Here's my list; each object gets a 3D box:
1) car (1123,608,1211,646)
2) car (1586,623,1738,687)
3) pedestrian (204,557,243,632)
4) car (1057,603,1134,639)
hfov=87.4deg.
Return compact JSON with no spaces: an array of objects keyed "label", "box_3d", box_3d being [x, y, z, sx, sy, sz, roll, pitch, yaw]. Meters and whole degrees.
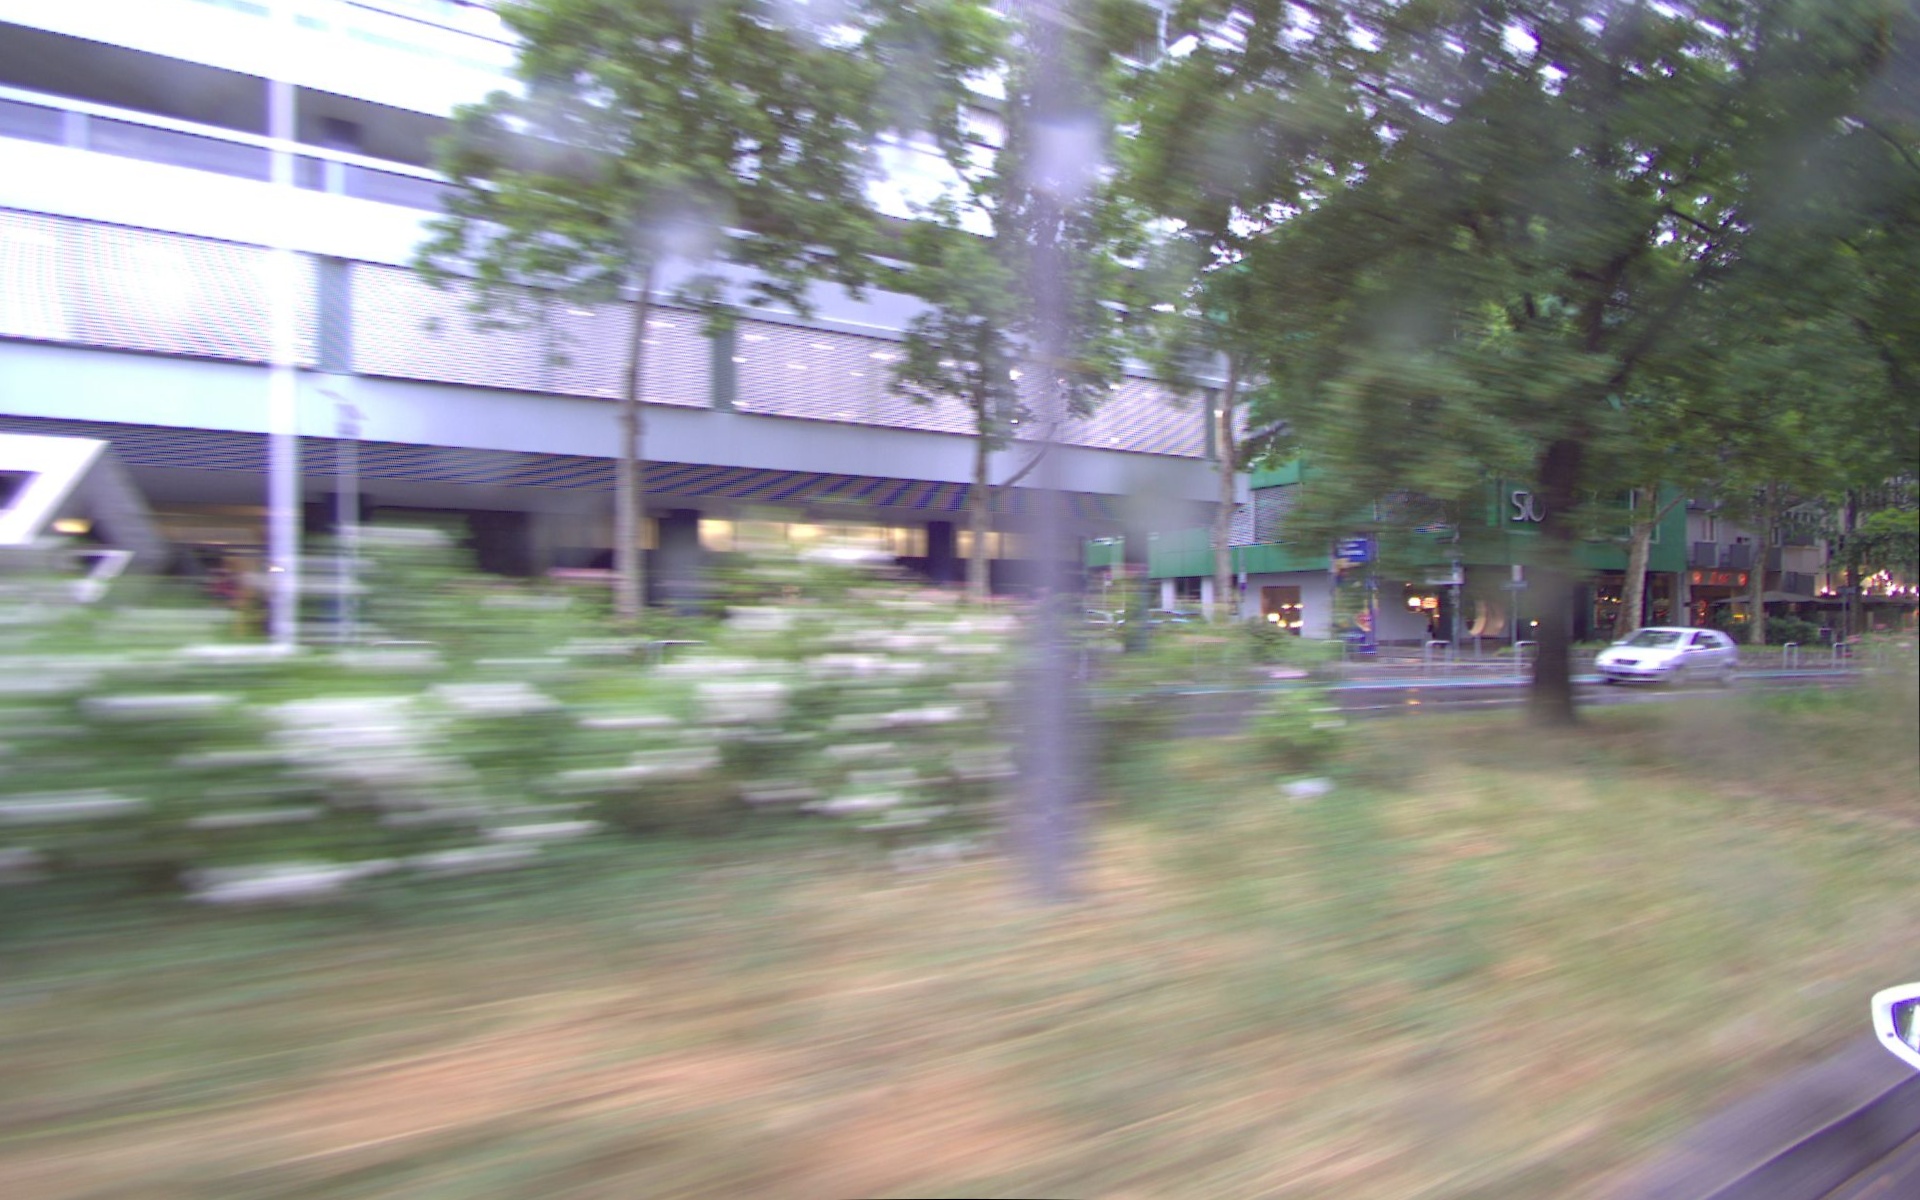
[{"label":"car","box_3d":[8.725,1.130,42.532,1.665,1.396,3.479,2,0,-32]},{"label":"car","box_3d":[17.415,1.354,24.895,3.767,1.454,1.641,2,-1,-30]},{"label":"pedestrian","box_3d":[-15.100,-0.116,20.614,0.569,1.502,0.606,2,1,-33]},{"label":"car","box_3d":[6.239,0.977,46.589,1.678,1.488,3.603,2,0,-30]}]
